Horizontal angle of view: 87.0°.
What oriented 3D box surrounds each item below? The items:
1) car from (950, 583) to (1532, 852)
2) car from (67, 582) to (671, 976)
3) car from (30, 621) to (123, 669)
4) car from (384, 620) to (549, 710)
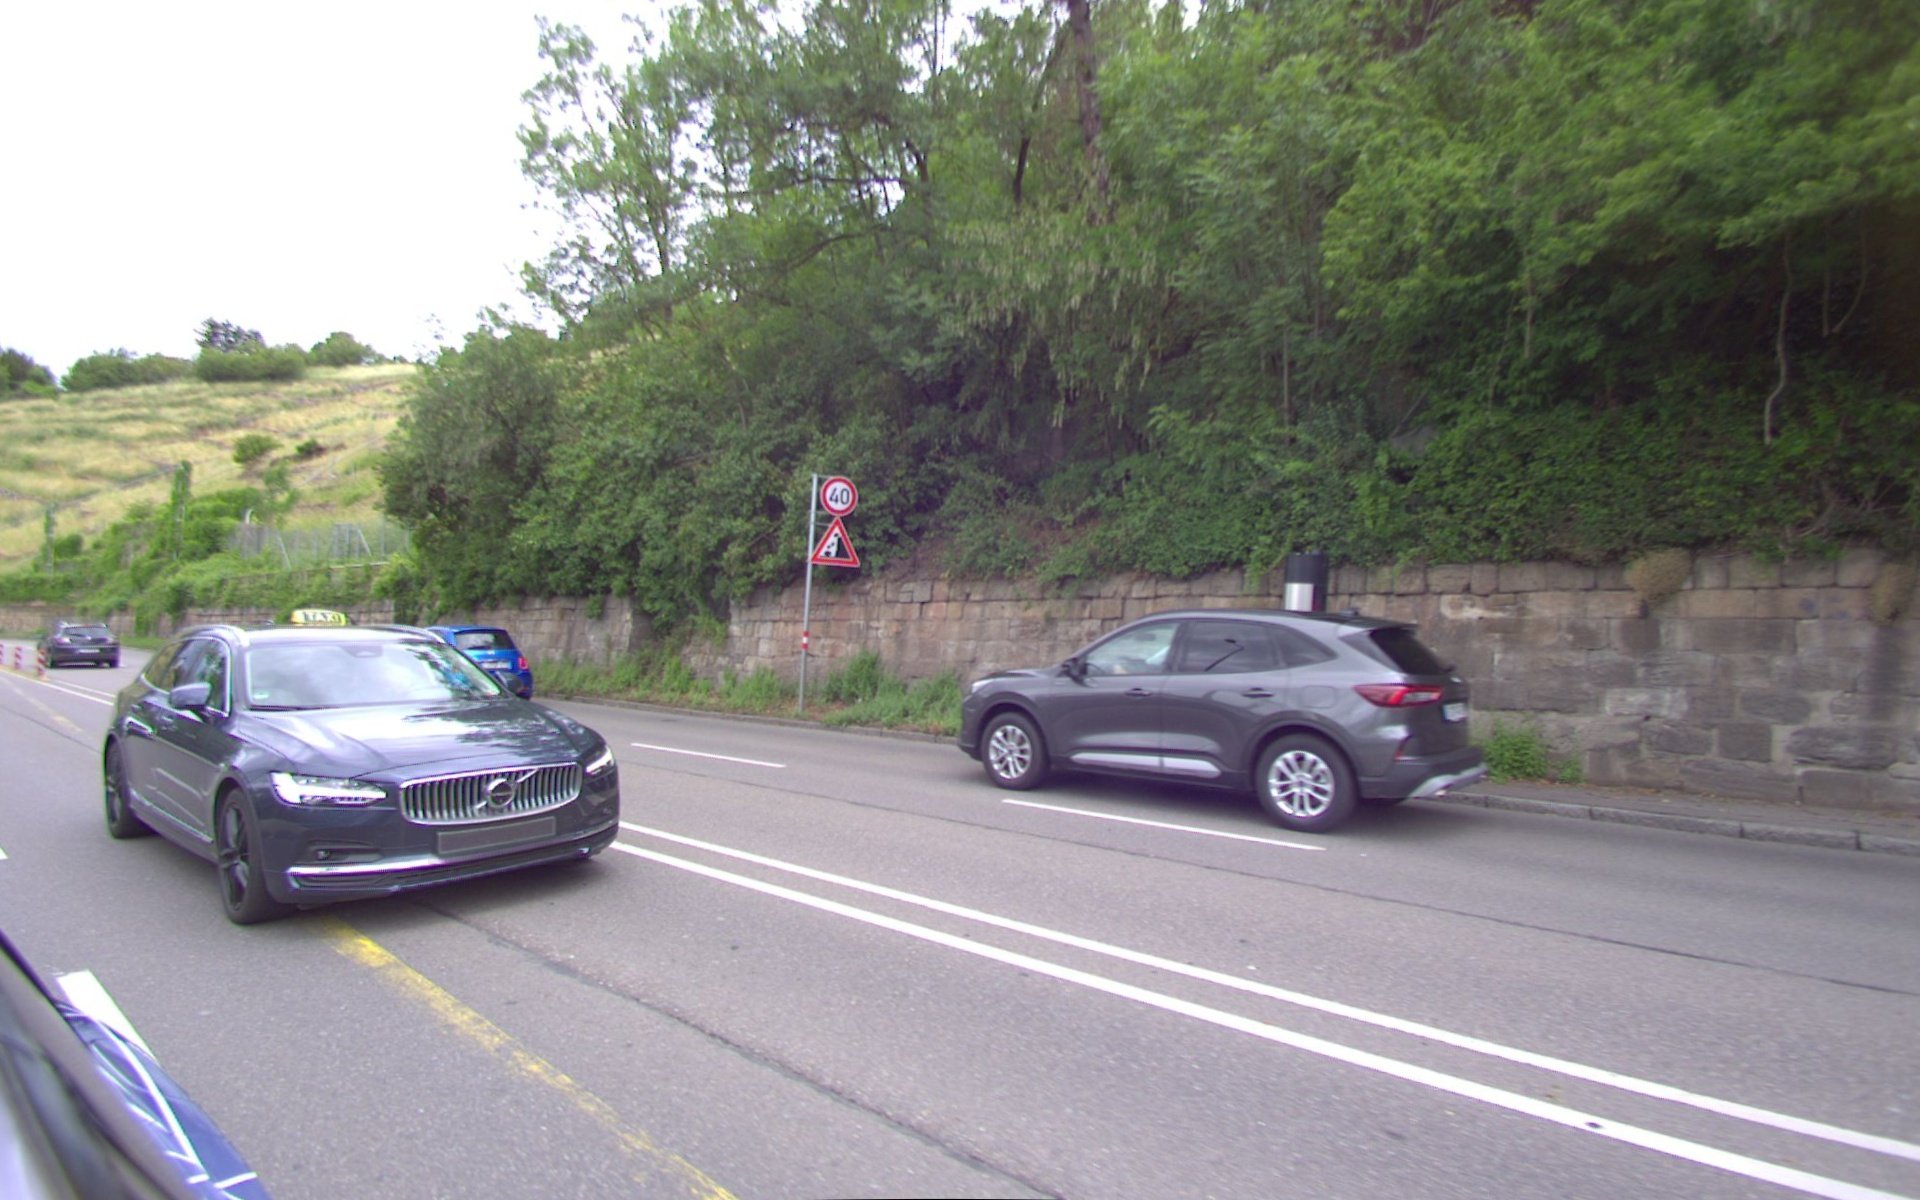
[{"bbox_3d":[2.163,0.791,8.632,4.468,1.710,1.796,-1,-2,41],"label":"car"},{"bbox_3d":[-4.085,0.762,6.498,5.025,1.588,1.914,-1,-1,42],"label":"car"},{"bbox_3d":[-29.241,1.443,33.453,4.295,1.456,1.836,-1,-2,42],"label":"car"},{"bbox_3d":[-9.224,1.134,18.811,3.523,1.472,1.566,-1,0,42],"label":"car"}]
